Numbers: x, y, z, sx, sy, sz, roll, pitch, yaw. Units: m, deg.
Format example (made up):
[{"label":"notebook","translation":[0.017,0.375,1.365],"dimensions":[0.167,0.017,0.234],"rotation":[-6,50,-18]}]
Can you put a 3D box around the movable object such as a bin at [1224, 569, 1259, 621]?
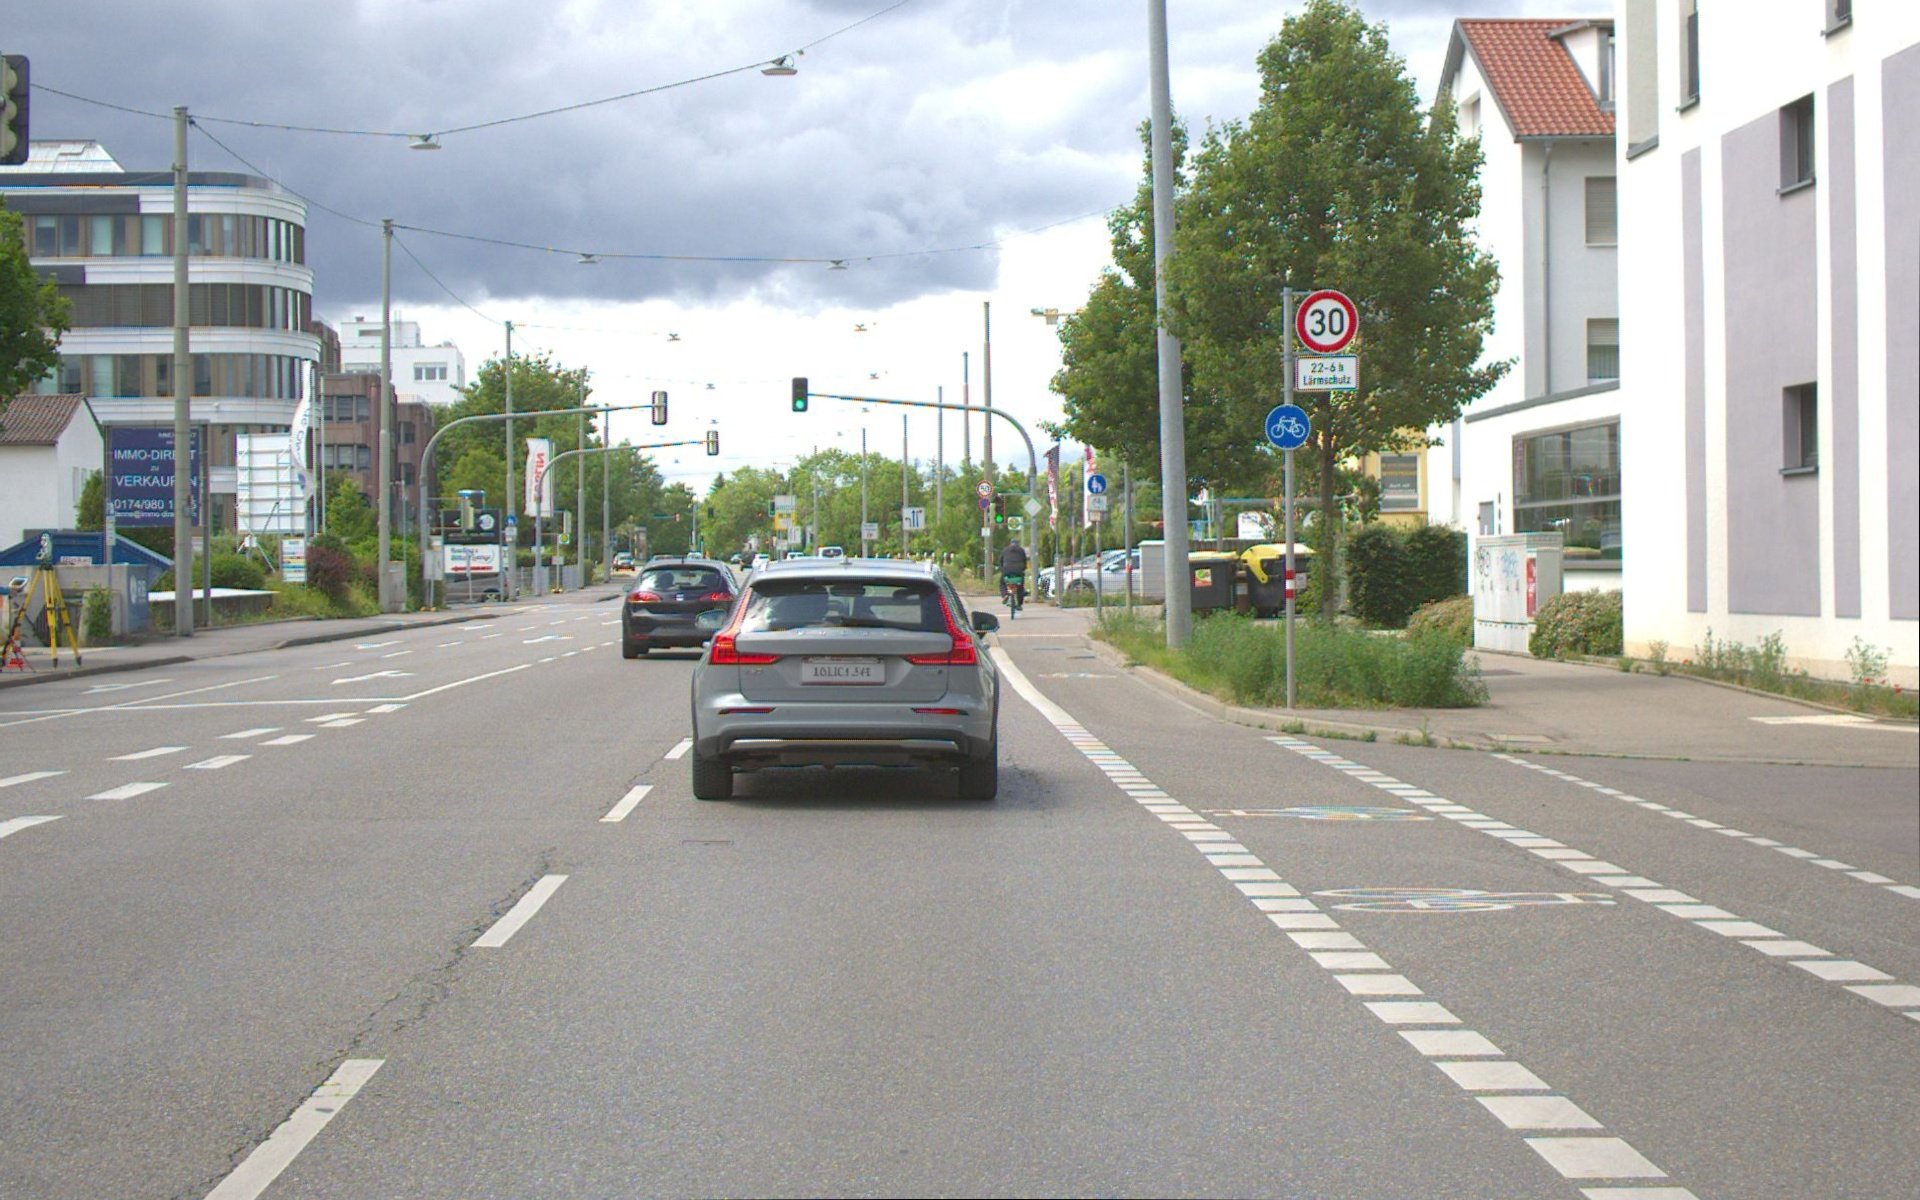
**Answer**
[{"label":"movable object such as a bin","translation":[5.588,-0.098,68.223],"dimensions":[0.567,1.023,0.405],"rotation":[-1,-1,36]}]

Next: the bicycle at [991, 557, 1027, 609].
[{"label":"bicycle","translation":[1.041,-0.373,73.332],"dimensions":[0.638,1.059,1.977],"rotation":[-4,1,-1]}]

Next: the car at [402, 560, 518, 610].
[{"label":"car","translation":[-18.465,-0.574,127.004],"dimensions":[4.092,1.393,1.909],"rotation":[-6,2,-8]}]

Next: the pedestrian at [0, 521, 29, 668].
[{"label":"pedestrian","translation":[-13.339,-0.081,47.105],"dimensions":[0.725,2.007,0.808],"rotation":[1,0,42]}]

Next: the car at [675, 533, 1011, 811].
[{"label":"car","translation":[-0.759,0.423,21.916],"dimensions":[1.895,1.549,4.000],"rotation":[2,0,-2]}]

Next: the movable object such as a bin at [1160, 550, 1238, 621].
[{"label":"movable object such as a bin","translation":[4.685,-0.271,67.300],"dimensions":[1.320,1.356,1.250],"rotation":[0,-1,15]}]

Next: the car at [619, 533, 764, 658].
[{"label":"car","translation":[-3.932,-0.062,50.803],"dimensions":[1.993,1.711,4.000],"rotation":[2,0,-4]}]

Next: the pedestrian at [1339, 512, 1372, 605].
[{"label":"pedestrian","translation":[7.590,-0.798,65.932],"dimensions":[0.507,1.759,0.500],"rotation":[2,0,15]}]

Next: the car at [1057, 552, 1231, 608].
[{"label":"car","translation":[5.139,-0.561,96.469],"dimensions":[4.696,1.488,2.046],"rotation":[1,1,-2]}]

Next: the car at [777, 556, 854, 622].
[{"label":"car","translation":[-3.908,-0.287,93.191],"dimensions":[1.993,1.689,4.000],"rotation":[2,0,-2]}]

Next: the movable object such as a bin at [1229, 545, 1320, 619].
[{"label":"movable object such as a bin","translation":[6.184,-0.345,67.651],"dimensions":[1.322,1.430,1.249],"rotation":[-1,-1,36]}]

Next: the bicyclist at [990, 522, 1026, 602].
[{"label":"bicyclist","translation":[1.020,-0.810,73.439],"dimensions":[0.638,1.670,0.890],"rotation":[-4,1,-1]}]
